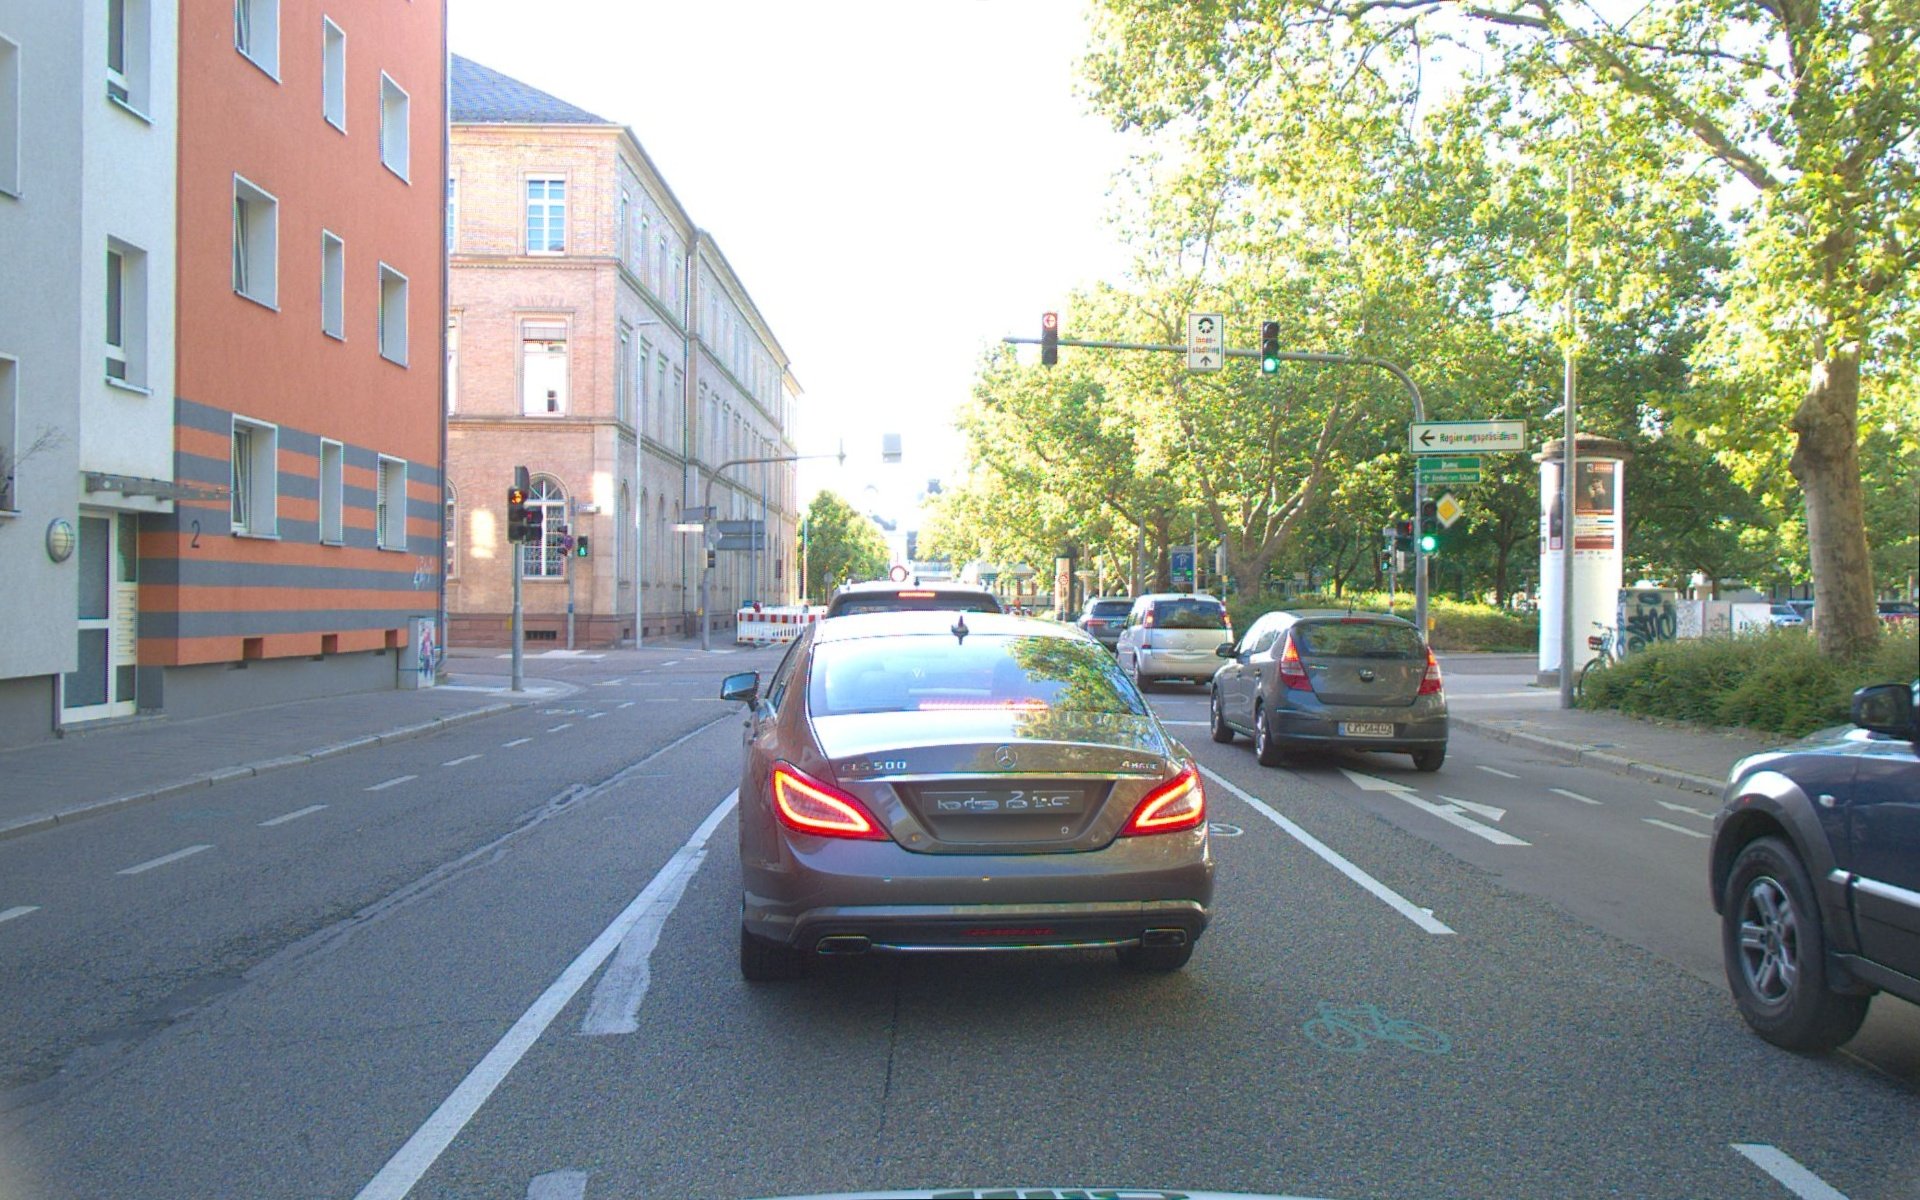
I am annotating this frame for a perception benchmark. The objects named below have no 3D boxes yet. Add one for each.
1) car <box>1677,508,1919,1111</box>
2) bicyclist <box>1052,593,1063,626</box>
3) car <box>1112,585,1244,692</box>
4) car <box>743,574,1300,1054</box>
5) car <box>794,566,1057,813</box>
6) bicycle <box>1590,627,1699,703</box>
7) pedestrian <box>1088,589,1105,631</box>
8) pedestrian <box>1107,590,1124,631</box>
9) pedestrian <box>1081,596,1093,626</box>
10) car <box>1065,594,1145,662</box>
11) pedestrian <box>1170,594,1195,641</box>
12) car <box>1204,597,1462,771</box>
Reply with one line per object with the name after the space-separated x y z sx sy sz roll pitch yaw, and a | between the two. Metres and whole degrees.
3.782 0.635 4.306 1.823 1.794 4.481 1 0 -1 | car
6.208 0.599 105.097 0.583 2.075 0.565 1 -1 -5 | bicyclist
3.670 0.627 28.391 1.696 1.691 3.680 1 0 -1 | car
-0.031 0.691 7.454 1.826 1.545 3.993 1 0 -8 | car
-0.268 0.621 13.582 1.823 1.712 3.999 1 0 -1 | car
9.872 0.920 23.828 1.868 1.046 0.633 1 -1 -39 | bicycle
6.071 0.433 73.423 0.623 1.828 0.698 1 -1 -5 | pedestrian
6.907 0.457 73.445 0.623 1.791 0.698 1 -1 -5 | pedestrian
6.386 0.549 83.400 0.545 1.535 0.345 1 -1 -5 | pedestrian
3.508 0.659 40.440 1.568 1.576 3.680 1 0 -1 | car
7.496 0.577 55.668 0.623 1.572 0.909 1 0 -6 | pedestrian
3.666 0.752 16.923 1.670 1.545 3.999 1 0 -1 | car
